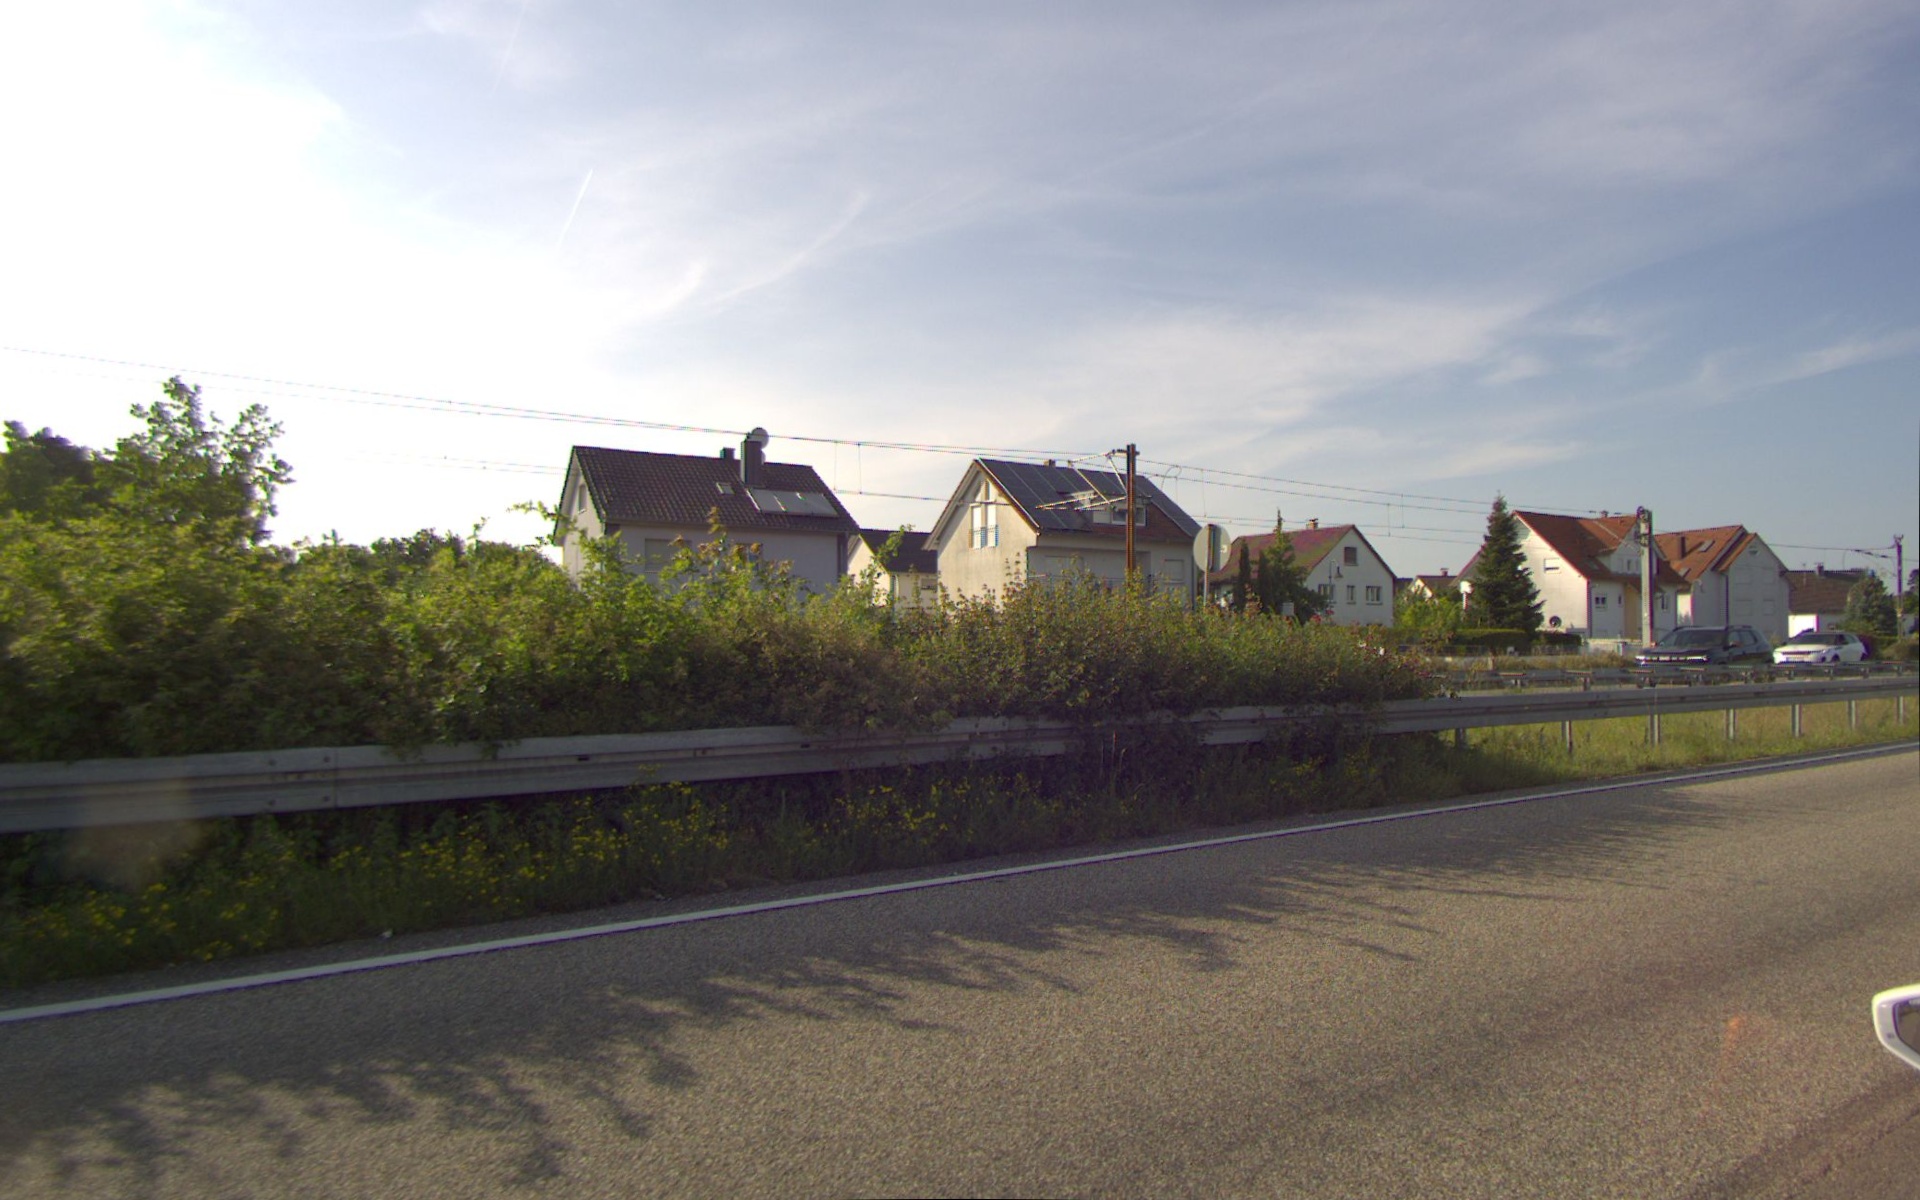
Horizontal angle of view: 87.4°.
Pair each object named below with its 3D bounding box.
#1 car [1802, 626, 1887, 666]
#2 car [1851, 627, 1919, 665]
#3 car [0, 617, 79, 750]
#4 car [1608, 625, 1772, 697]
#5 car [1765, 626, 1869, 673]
[{"bbox_3d":[42.417,2.188,48.162,3.954,1.773,1.983,1,0,-31],"label":"car"},{"bbox_3d":[47.481,2.312,51.224,3.954,1.773,1.983,1,0,-31],"label":"car"},{"bbox_3d":[-12.448,0.918,10.731,4.276,1.450,1.652,1,-3,-31],"label":"car"},{"bbox_3d":[18.222,1.503,25.034,4.270,1.655,1.721,1,-4,-31],"label":"car"},{"bbox_3d":[32.560,1.849,38.138,4.395,1.633,1.706,1,0,-31],"label":"car"}]
